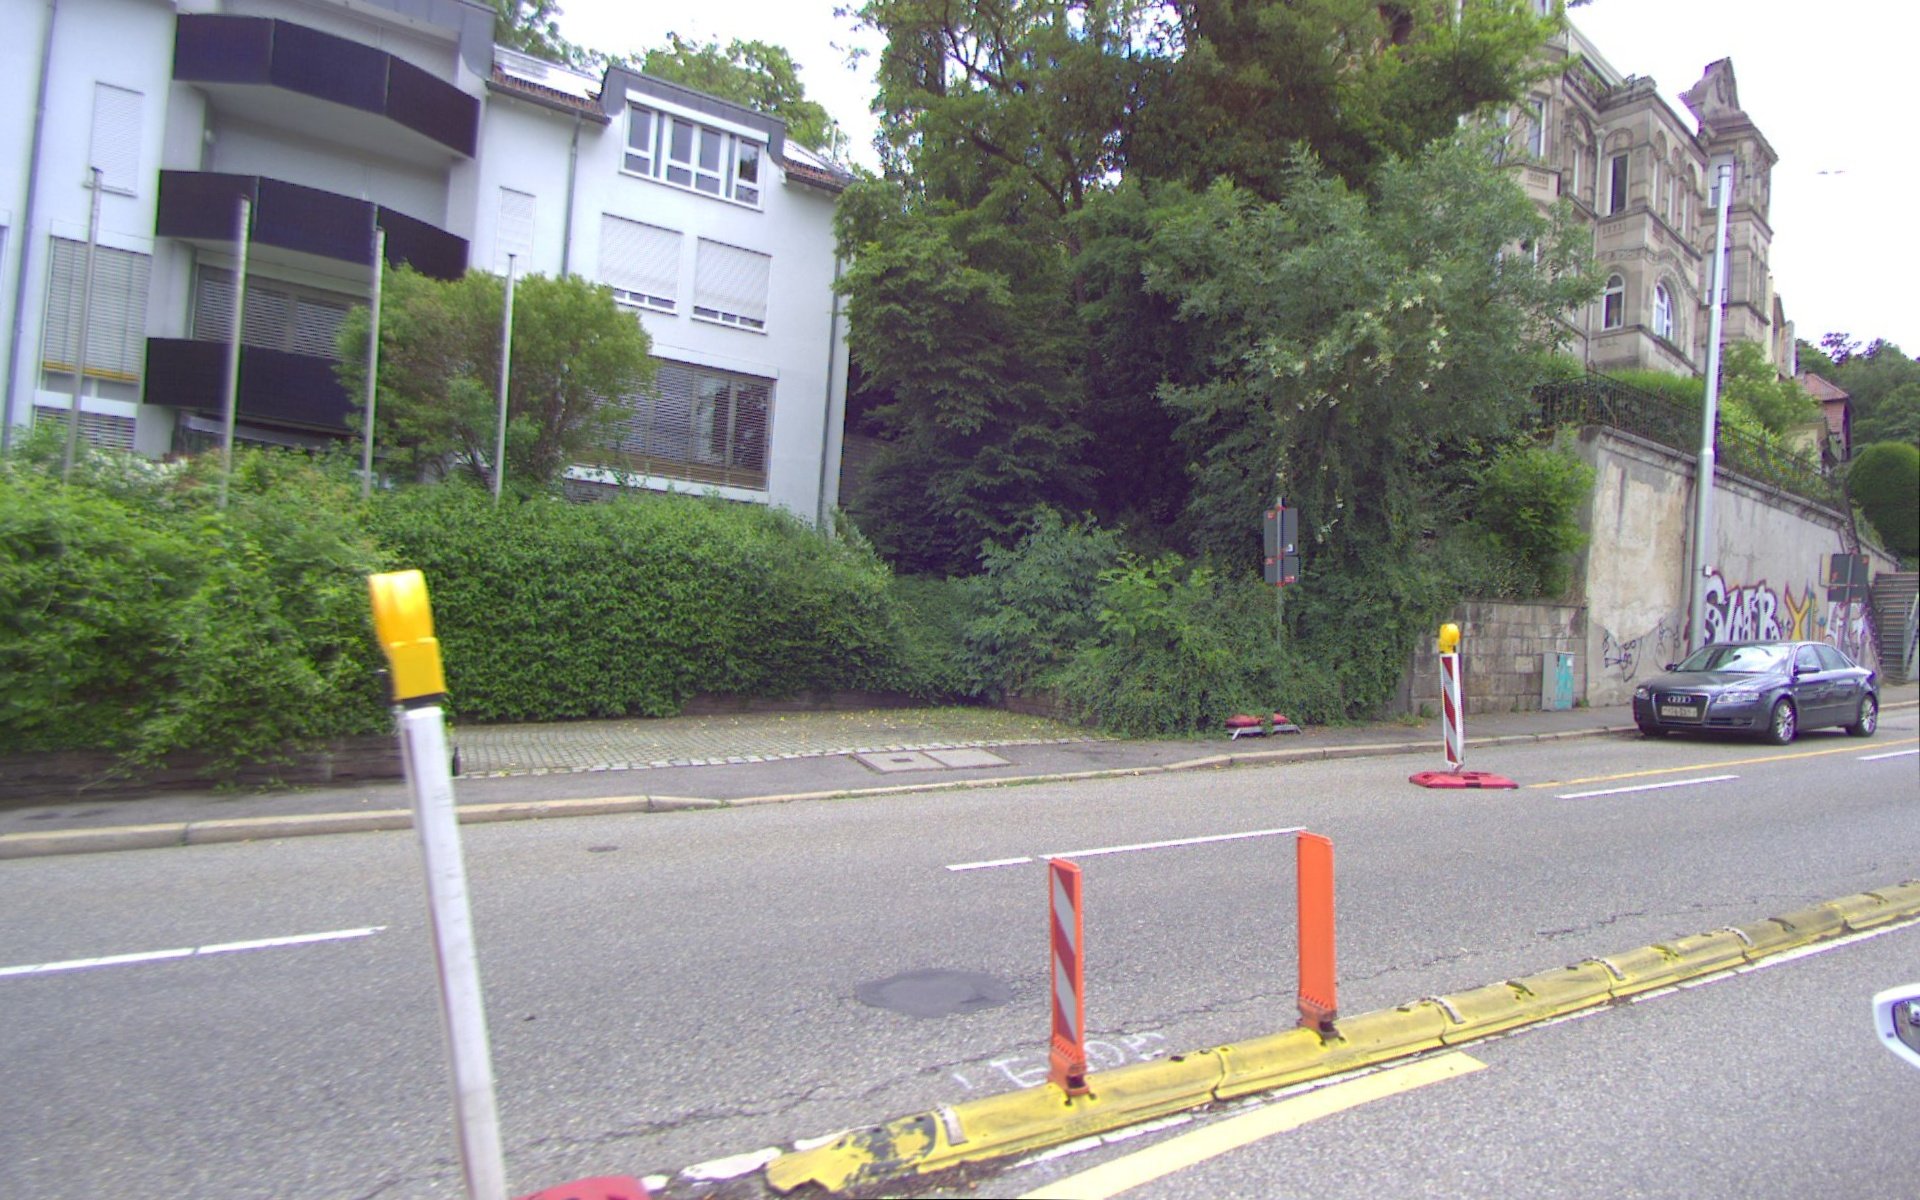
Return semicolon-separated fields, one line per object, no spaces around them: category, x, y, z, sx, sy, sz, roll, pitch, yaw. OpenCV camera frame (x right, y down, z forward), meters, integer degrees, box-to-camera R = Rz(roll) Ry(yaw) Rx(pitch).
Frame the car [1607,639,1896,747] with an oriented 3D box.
car;11.692;1.275;14.795;4.334;1.391;1.792;1;-3;-29
